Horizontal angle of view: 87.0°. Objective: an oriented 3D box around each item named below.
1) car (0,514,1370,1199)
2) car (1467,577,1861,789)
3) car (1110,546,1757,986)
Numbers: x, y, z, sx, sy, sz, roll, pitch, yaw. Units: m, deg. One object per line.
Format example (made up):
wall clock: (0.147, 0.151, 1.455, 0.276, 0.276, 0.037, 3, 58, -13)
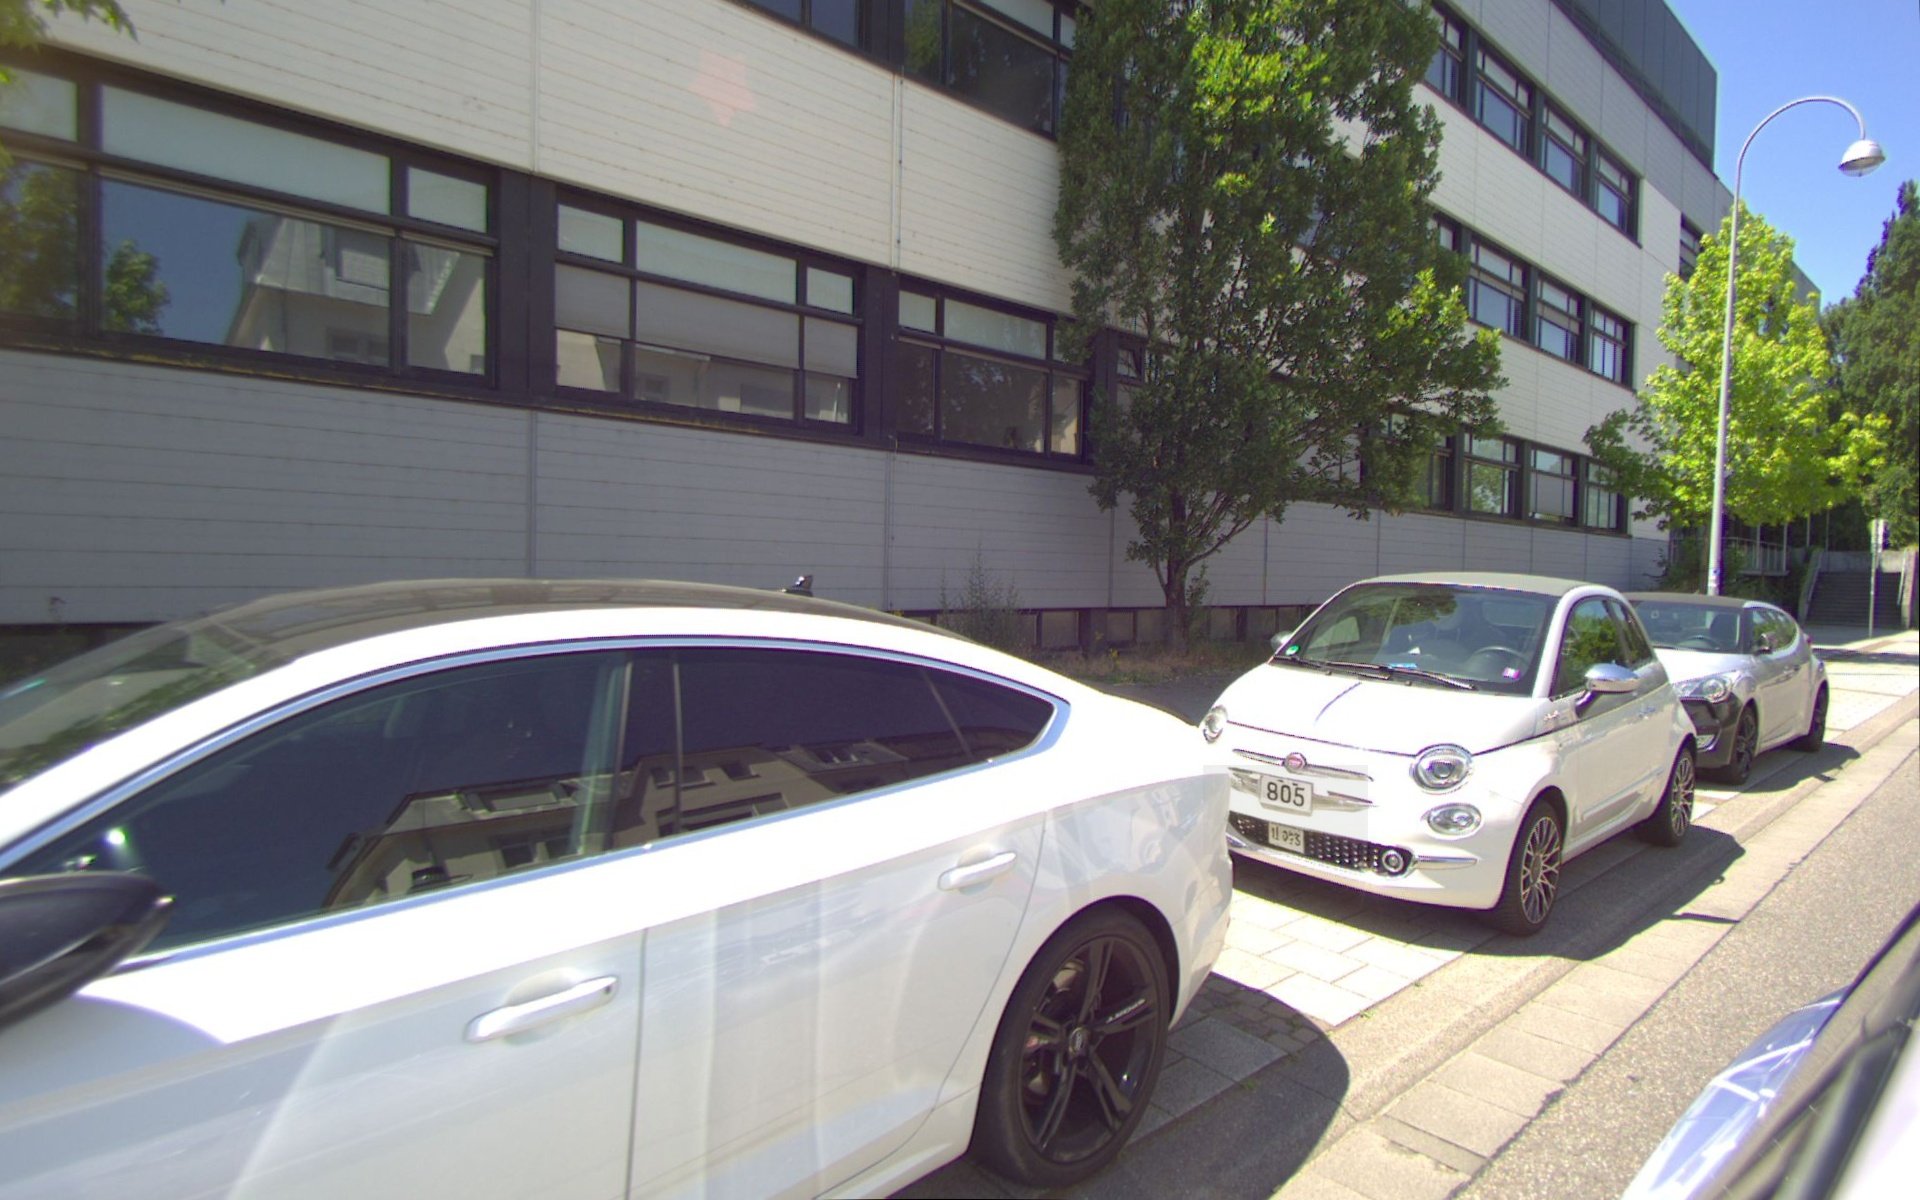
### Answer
car: (-1.210, 0.599, 2.154, 4.796, 1.487, 1.919, -1, 3, -42)
car: (6.282, 0.542, 8.885, 3.929, 1.382, 1.841, 0, 3, -40)
car: (2.726, 0.534, 5.425, 3.810, 1.516, 1.714, 0, 3, -41)
